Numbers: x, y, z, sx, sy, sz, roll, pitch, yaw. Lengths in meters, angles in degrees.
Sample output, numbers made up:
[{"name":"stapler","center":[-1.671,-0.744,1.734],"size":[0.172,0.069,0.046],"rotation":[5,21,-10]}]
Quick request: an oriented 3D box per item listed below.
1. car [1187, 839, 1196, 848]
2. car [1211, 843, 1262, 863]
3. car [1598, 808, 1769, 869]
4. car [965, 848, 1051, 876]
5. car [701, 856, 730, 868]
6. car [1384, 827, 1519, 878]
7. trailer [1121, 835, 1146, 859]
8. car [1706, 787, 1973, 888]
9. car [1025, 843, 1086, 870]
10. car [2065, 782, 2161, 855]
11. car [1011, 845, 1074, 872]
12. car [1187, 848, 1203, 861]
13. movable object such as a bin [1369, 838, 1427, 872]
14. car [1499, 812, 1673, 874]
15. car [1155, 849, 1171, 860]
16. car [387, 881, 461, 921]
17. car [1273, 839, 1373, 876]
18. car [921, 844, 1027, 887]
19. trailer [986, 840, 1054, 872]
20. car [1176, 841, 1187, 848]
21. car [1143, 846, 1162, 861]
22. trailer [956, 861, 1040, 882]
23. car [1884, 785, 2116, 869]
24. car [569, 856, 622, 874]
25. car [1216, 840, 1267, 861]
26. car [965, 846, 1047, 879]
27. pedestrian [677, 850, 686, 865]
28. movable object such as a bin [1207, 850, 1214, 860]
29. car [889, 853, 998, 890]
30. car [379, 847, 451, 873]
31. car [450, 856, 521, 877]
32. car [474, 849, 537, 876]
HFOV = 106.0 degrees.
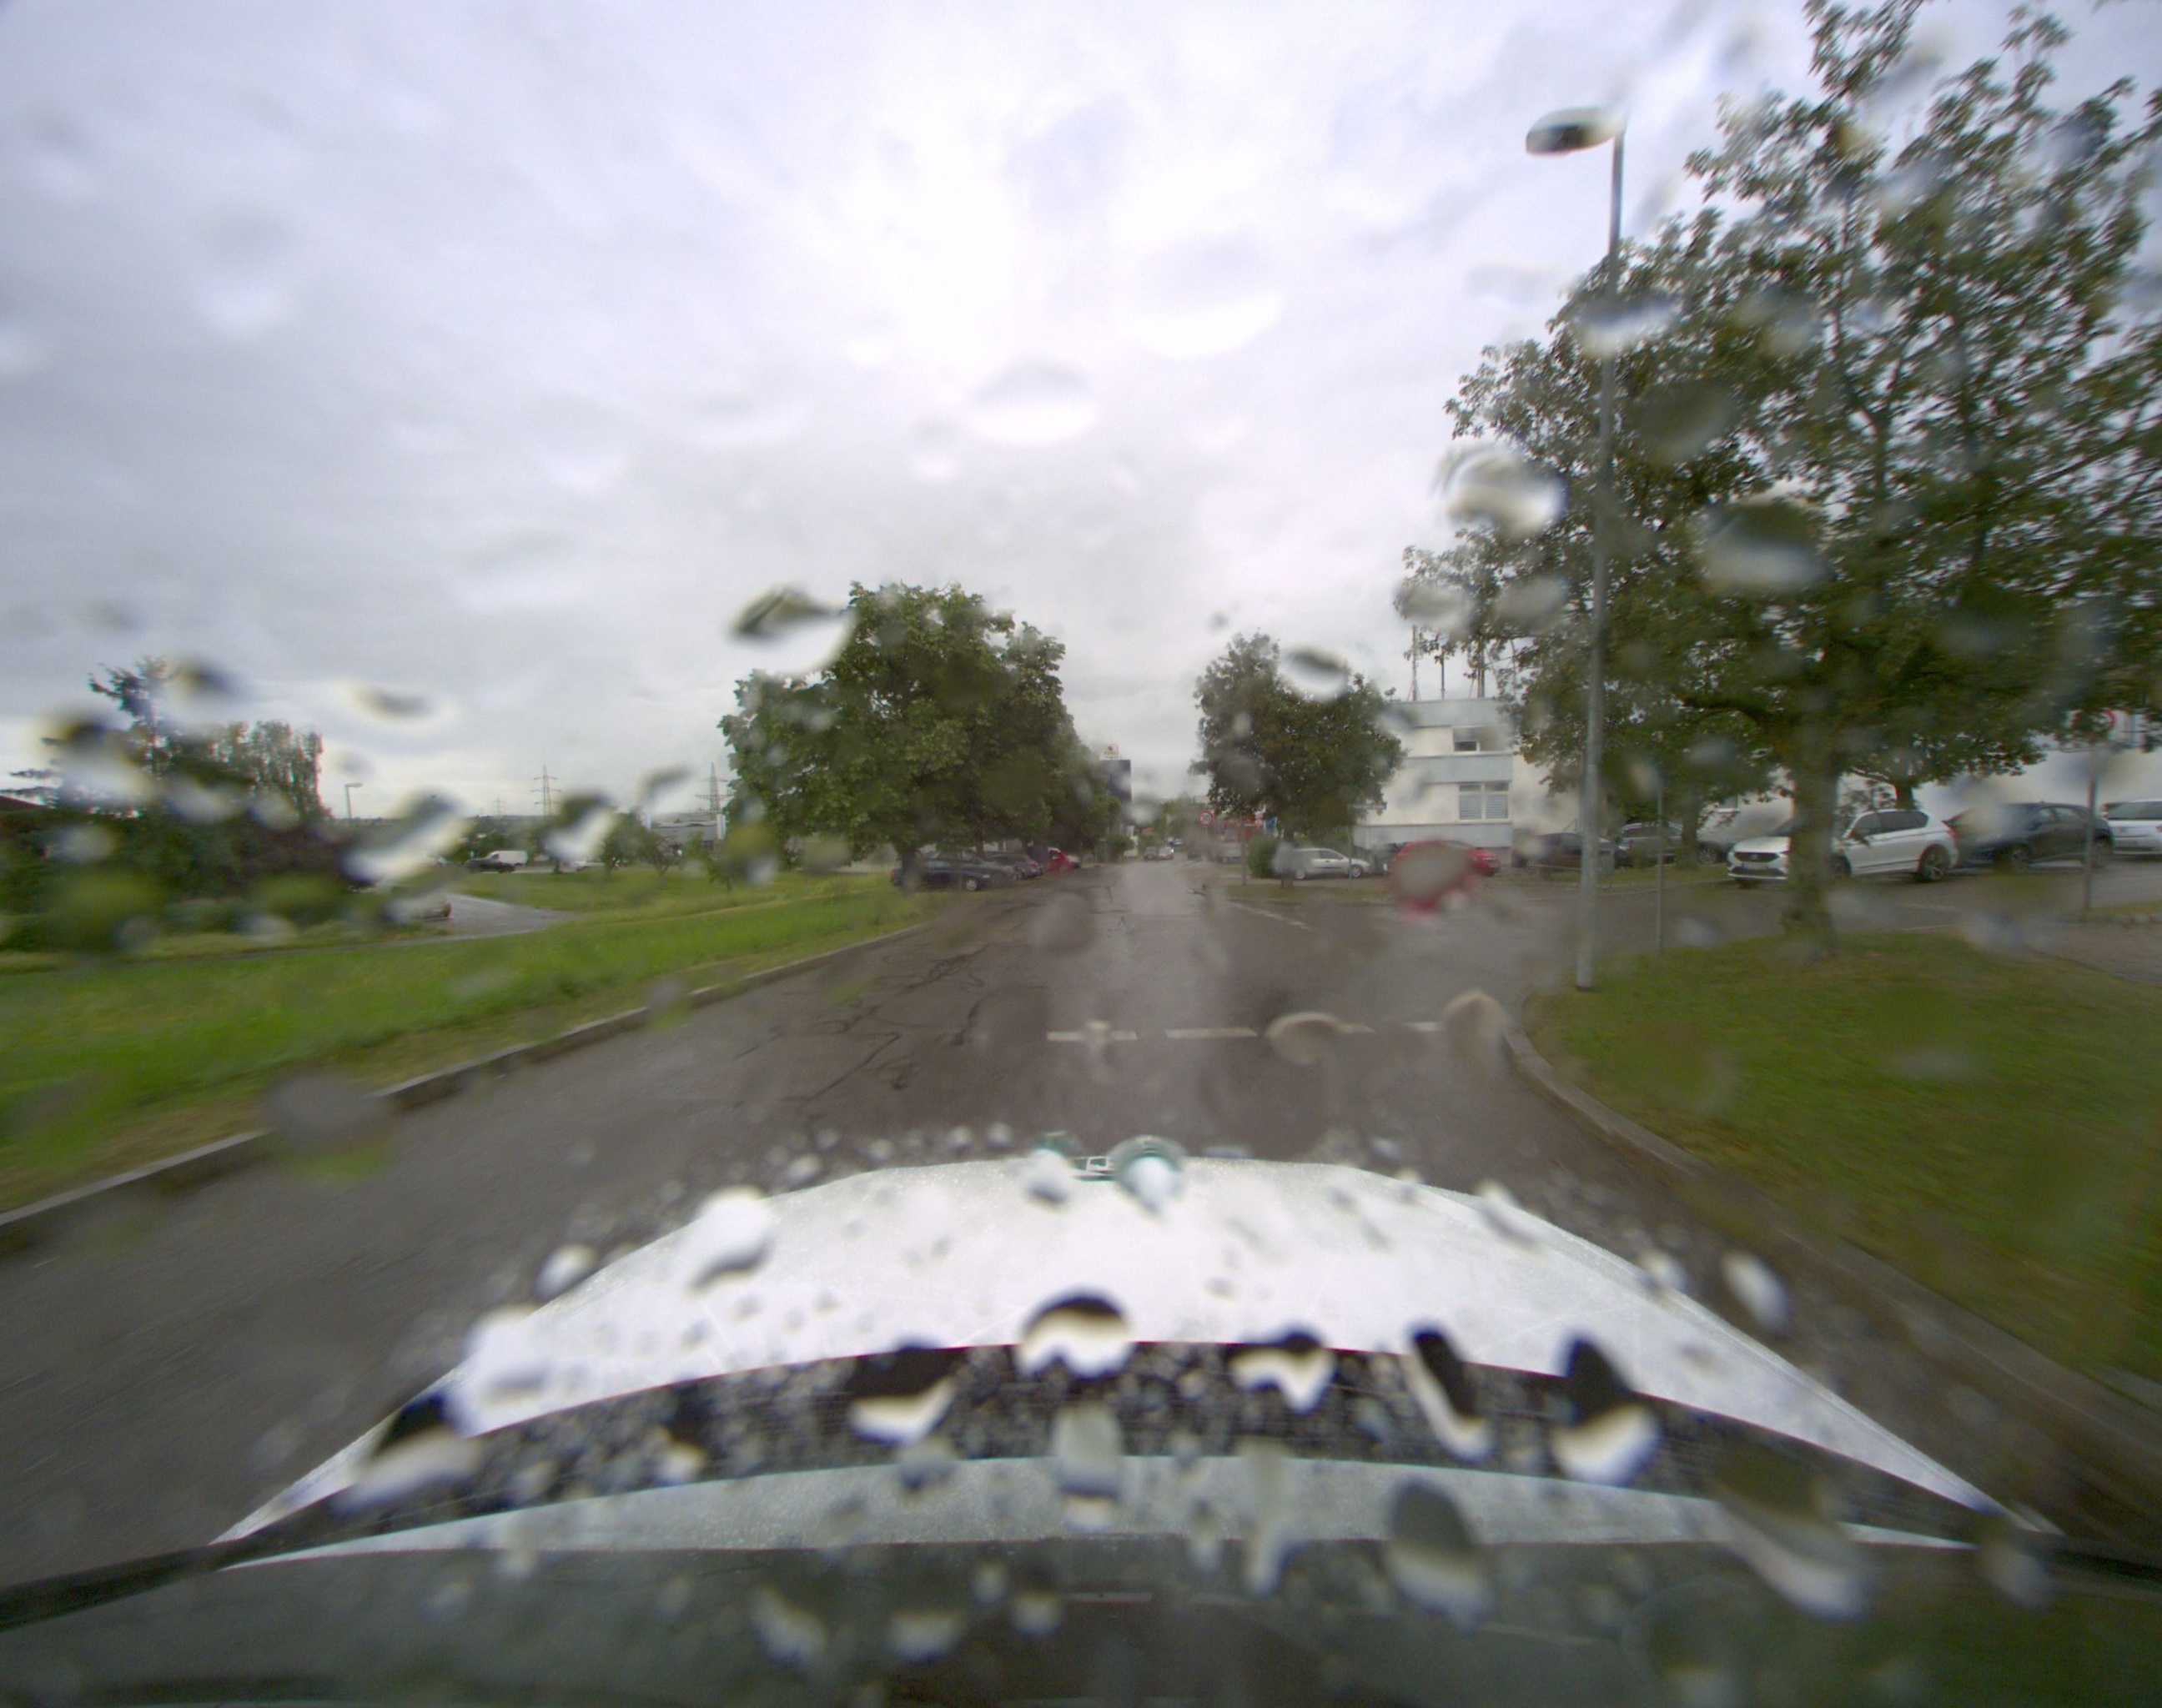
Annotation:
[{"name":"car","center":[31.220,-2.996,229.617],"size":[2.184,2.459,4.002],"rotation":[-2,-1,2]},{"name":"car","center":[14.684,-0.090,77.059],"size":[4.569,1.538,2.085],"rotation":[-4,0,10]},{"name":"car","center":[21.050,-0.453,28.658],"size":[1.864,1.798,4.415],"rotation":[1,-4,-31]},{"name":"car","center":[-4.190,0.468,47.078],"size":[4.592,1.590,1.810],"rotation":[0,0,7]},{"name":"car","center":[-51.541,1.119,114.814],"size":[3.948,1.618,2.013],"rotation":[-1,0,36]},{"name":"car","center":[13.583,-0.017,30.105],"size":[1.862,1.585,4.290],"rotation":[-2,-3,-25]},{"name":"trailer","center":[9.535,-1.217,147.642],"size":[2.017,4.203,4.136],"rotation":[-2,0,-42]},{"name":"car","center":[16.530,-0.361,17.821],"size":[4.704,1.814,1.938],"rotation":[-4,0,-13]},{"name":"car","center":[-1.970,0.198,62.639],"size":[4.270,1.906,1.868],"rotation":[-2,-1,13]},{"name":"car","center":[26.807,-0.888,19.974],"size":[3.821,1.668,1.827],"rotation":[-2,0,-12]},{"name":"car","center":[-2.708,0.301,57.624],"size":[4.176,1.722,1.757],"rotation":[-2,-1,4]},{"name":"car","center":[15.773,0.062,112.853],"size":[1.945,1.675,4.481],"rotation":[-2,-1,7]},{"name":"movable object such as a bin","center":[15.315,0.050,39.443],"size":[2.252,1.503,1.738],"rotation":[-3,0,10]},{"name":"car","center":[17.598,-0.324,28.686],"size":[1.864,1.585,4.784],"rotation":[-2,-5,-30]},{"name":"car","center":[11.979,0.098,118.514],"size":[1.944,1.461,5.263],"rotation":[-2,0,10]},{"name":"car","center":[-40.933,2.951,50.716],"size":[4.445,2.220,1.942],"rotation":[-4,0,29]},{"name":"car","center":[11.557,0.179,39.150],"size":[4.290,1.584,1.862],"rotation":[-2,-1,6]},{"name":"car","center":[-4.738,0.490,36.482],"size":[4.348,1.722,2.047],"rotation":[-2,-1,3]},{"name":"trailer","center":[-4.104,0.164,54.911],"size":[4.189,1.984,1.778],"rotation":[-2,-1,7]},{"name":"car","center":[28.202,-2.685,229.680],"size":[2.261,2.014,3.993],"rotation":[-2,-1,-5]},{"name":"car","center":[9.183,-0.088,104.093],"size":[1.903,1.831,4.863],"rotation":[-1,0,11]},{"name":"trailer","center":[-4.207,0.885,41.828],"size":[3.922,0.961,2.003],"rotation":[-1,1,5]},{"name":"car","center":[21.224,-0.639,18.858],"size":[4.012,1.732,1.947],"rotation":[-2,2,-14]},{"name":"car","center":[-55.141,1.237,92.556],"size":[2.261,1.648,4.650],"rotation":[-4,0,35]},{"name":"car","center":[14.531,-0.312,73.945],"size":[4.315,1.773,2.094],"rotation":[-2,0,8]},{"name":"car","center":[-4.055,0.439,44.505],"size":[4.050,1.722,2.031],"rotation":[0,0,9]},{"name":"pedestrian","center":[-55.306,0.459,112.635],"size":[0.638,2.013,0.857],"rotation":[-1,0,39]},{"name":"movable object such as a bin","center":[14.514,0.108,91.166],"size":[0.766,1.030,0.811],"rotation":[-1,0,12]},{"name":"car","center":[-5.652,0.707,33.845],"size":[4.199,1.431,1.773],"rotation":[-1,-1,-1]},{"name":"car","center":[-74.430,0.637,91.134],"size":[1.975,2.701,5.848],"rotation":[0,1,29]},{"name":"car","center":[-61.759,1.254,84.483],"size":[2.261,1.975,5.457],"rotation":[-4,-1,35]},{"name":"car","center":[-82.188,1.126,116.447],"size":[2.511,3.425,6.774],"rotation":[-4,0,35]}]
